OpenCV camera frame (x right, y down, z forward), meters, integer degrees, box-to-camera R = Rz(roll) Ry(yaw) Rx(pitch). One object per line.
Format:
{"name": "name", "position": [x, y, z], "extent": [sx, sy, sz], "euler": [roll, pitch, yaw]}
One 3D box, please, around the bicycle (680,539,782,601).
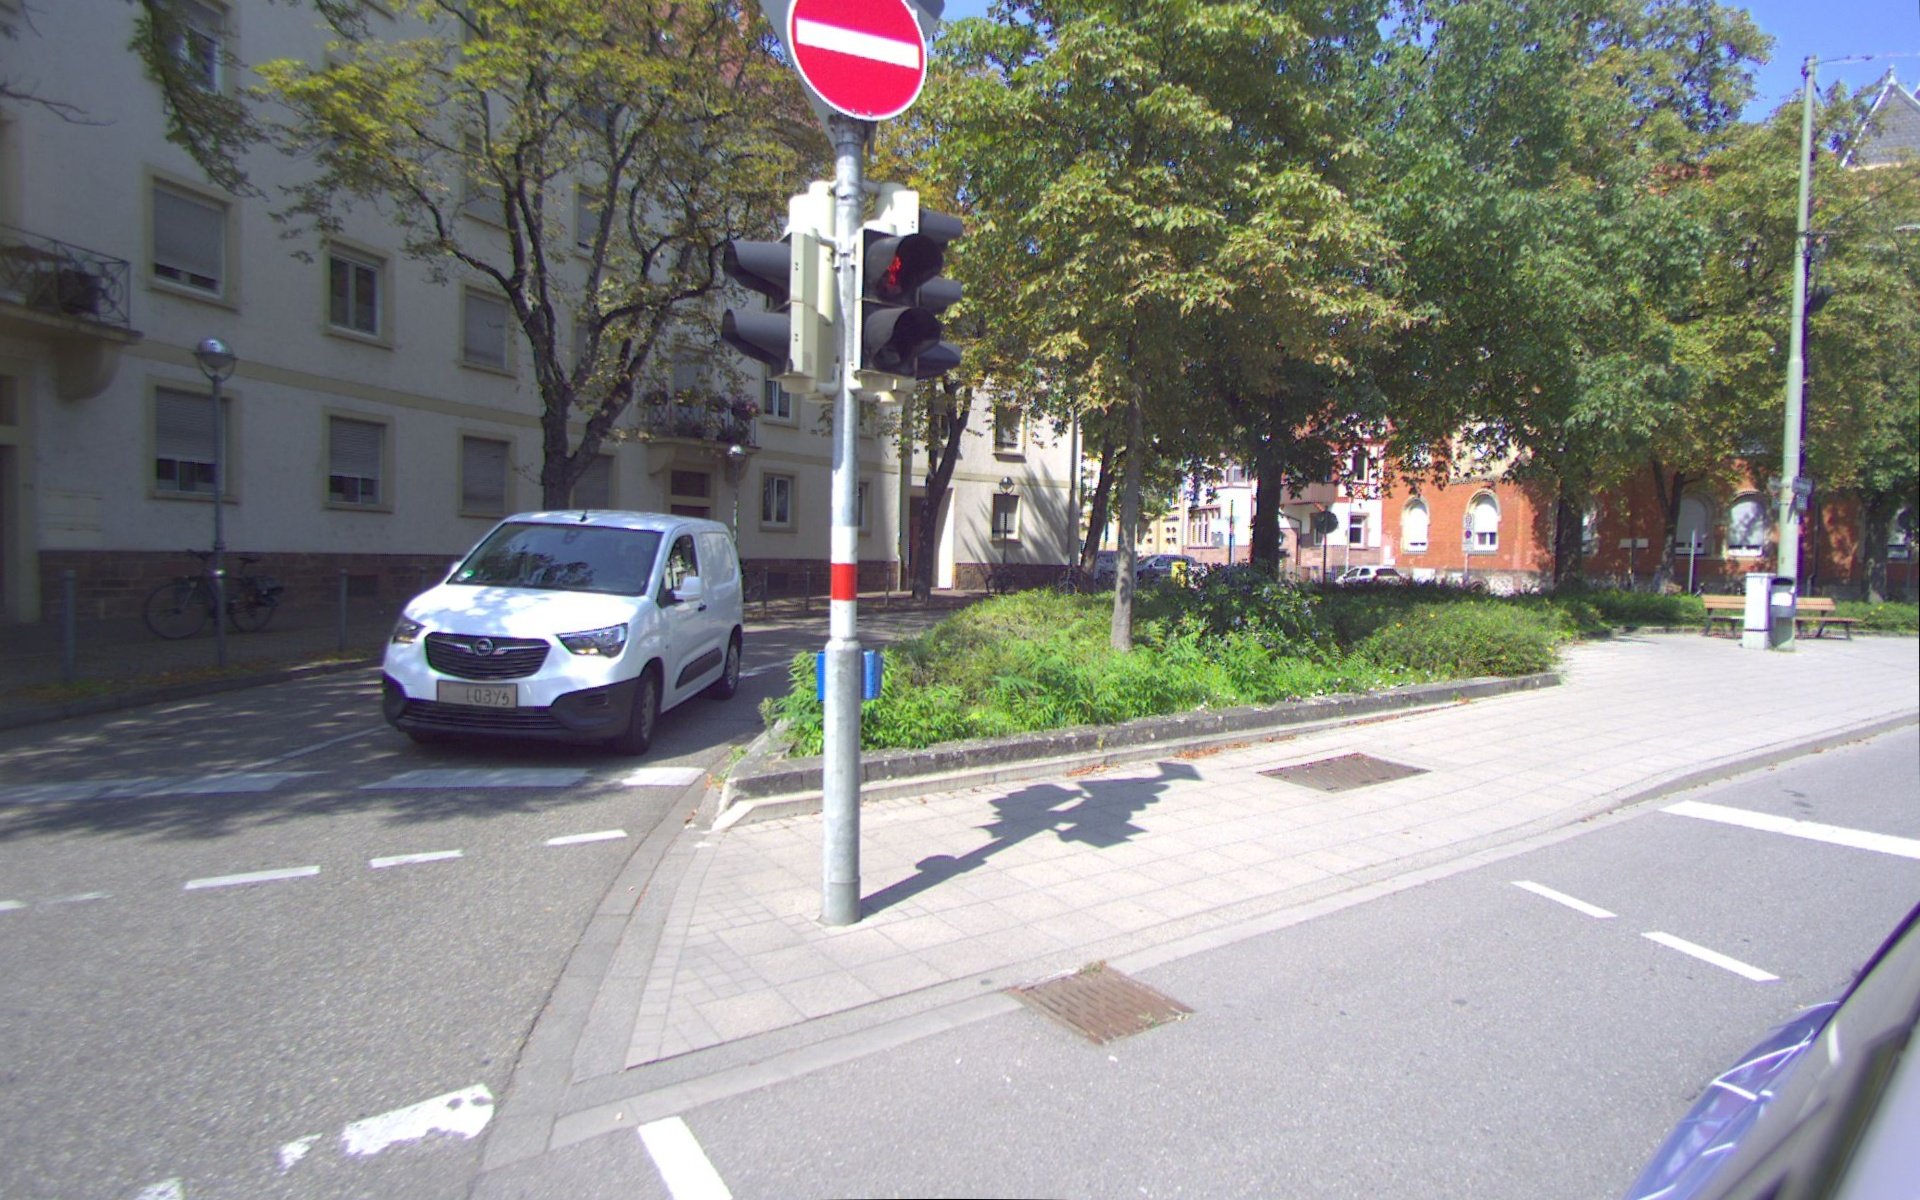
{"name": "bicycle", "position": [-5.501, -0.730, 24.427], "extent": [0.888, 1.427, 2.318], "euler": [2, 2, 43]}

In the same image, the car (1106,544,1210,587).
{"name": "car", "position": [9.108, -1.609, 46.705], "extent": [4.326, 1.834, 1.808], "euler": [1, 2, -8]}

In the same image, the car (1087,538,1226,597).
{"name": "car", "position": [6.758, -1.141, 35.139], "extent": [4.329, 1.833, 1.807], "euler": [2, 3, -3]}

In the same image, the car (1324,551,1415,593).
{"name": "car", "position": [19.328, -1.353, 47.960], "extent": [1.767, 1.834, 4.426], "euler": [1, 3, -11]}

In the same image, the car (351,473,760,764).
{"name": "car", "position": [-3.062, 0.017, 8.755], "extent": [1.770, 1.834, 4.418], "euler": [2, 3, 0]}

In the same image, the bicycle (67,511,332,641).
{"name": "bicycle", "position": [-9.724, -0.330, 13.137], "extent": [1.008, 1.470, 2.677], "euler": [3, 3, 16]}

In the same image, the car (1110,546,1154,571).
{"name": "car", "position": [12.948, -3.151, 76.504], "extent": [1.767, 1.834, 4.426], "euler": [1, 3, -11]}

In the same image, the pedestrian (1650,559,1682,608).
{"name": "pedestrian", "position": [27.820, -0.666, 39.873], "extent": [0.666, 1.908, 0.919], "euler": [2, 2, 15]}
